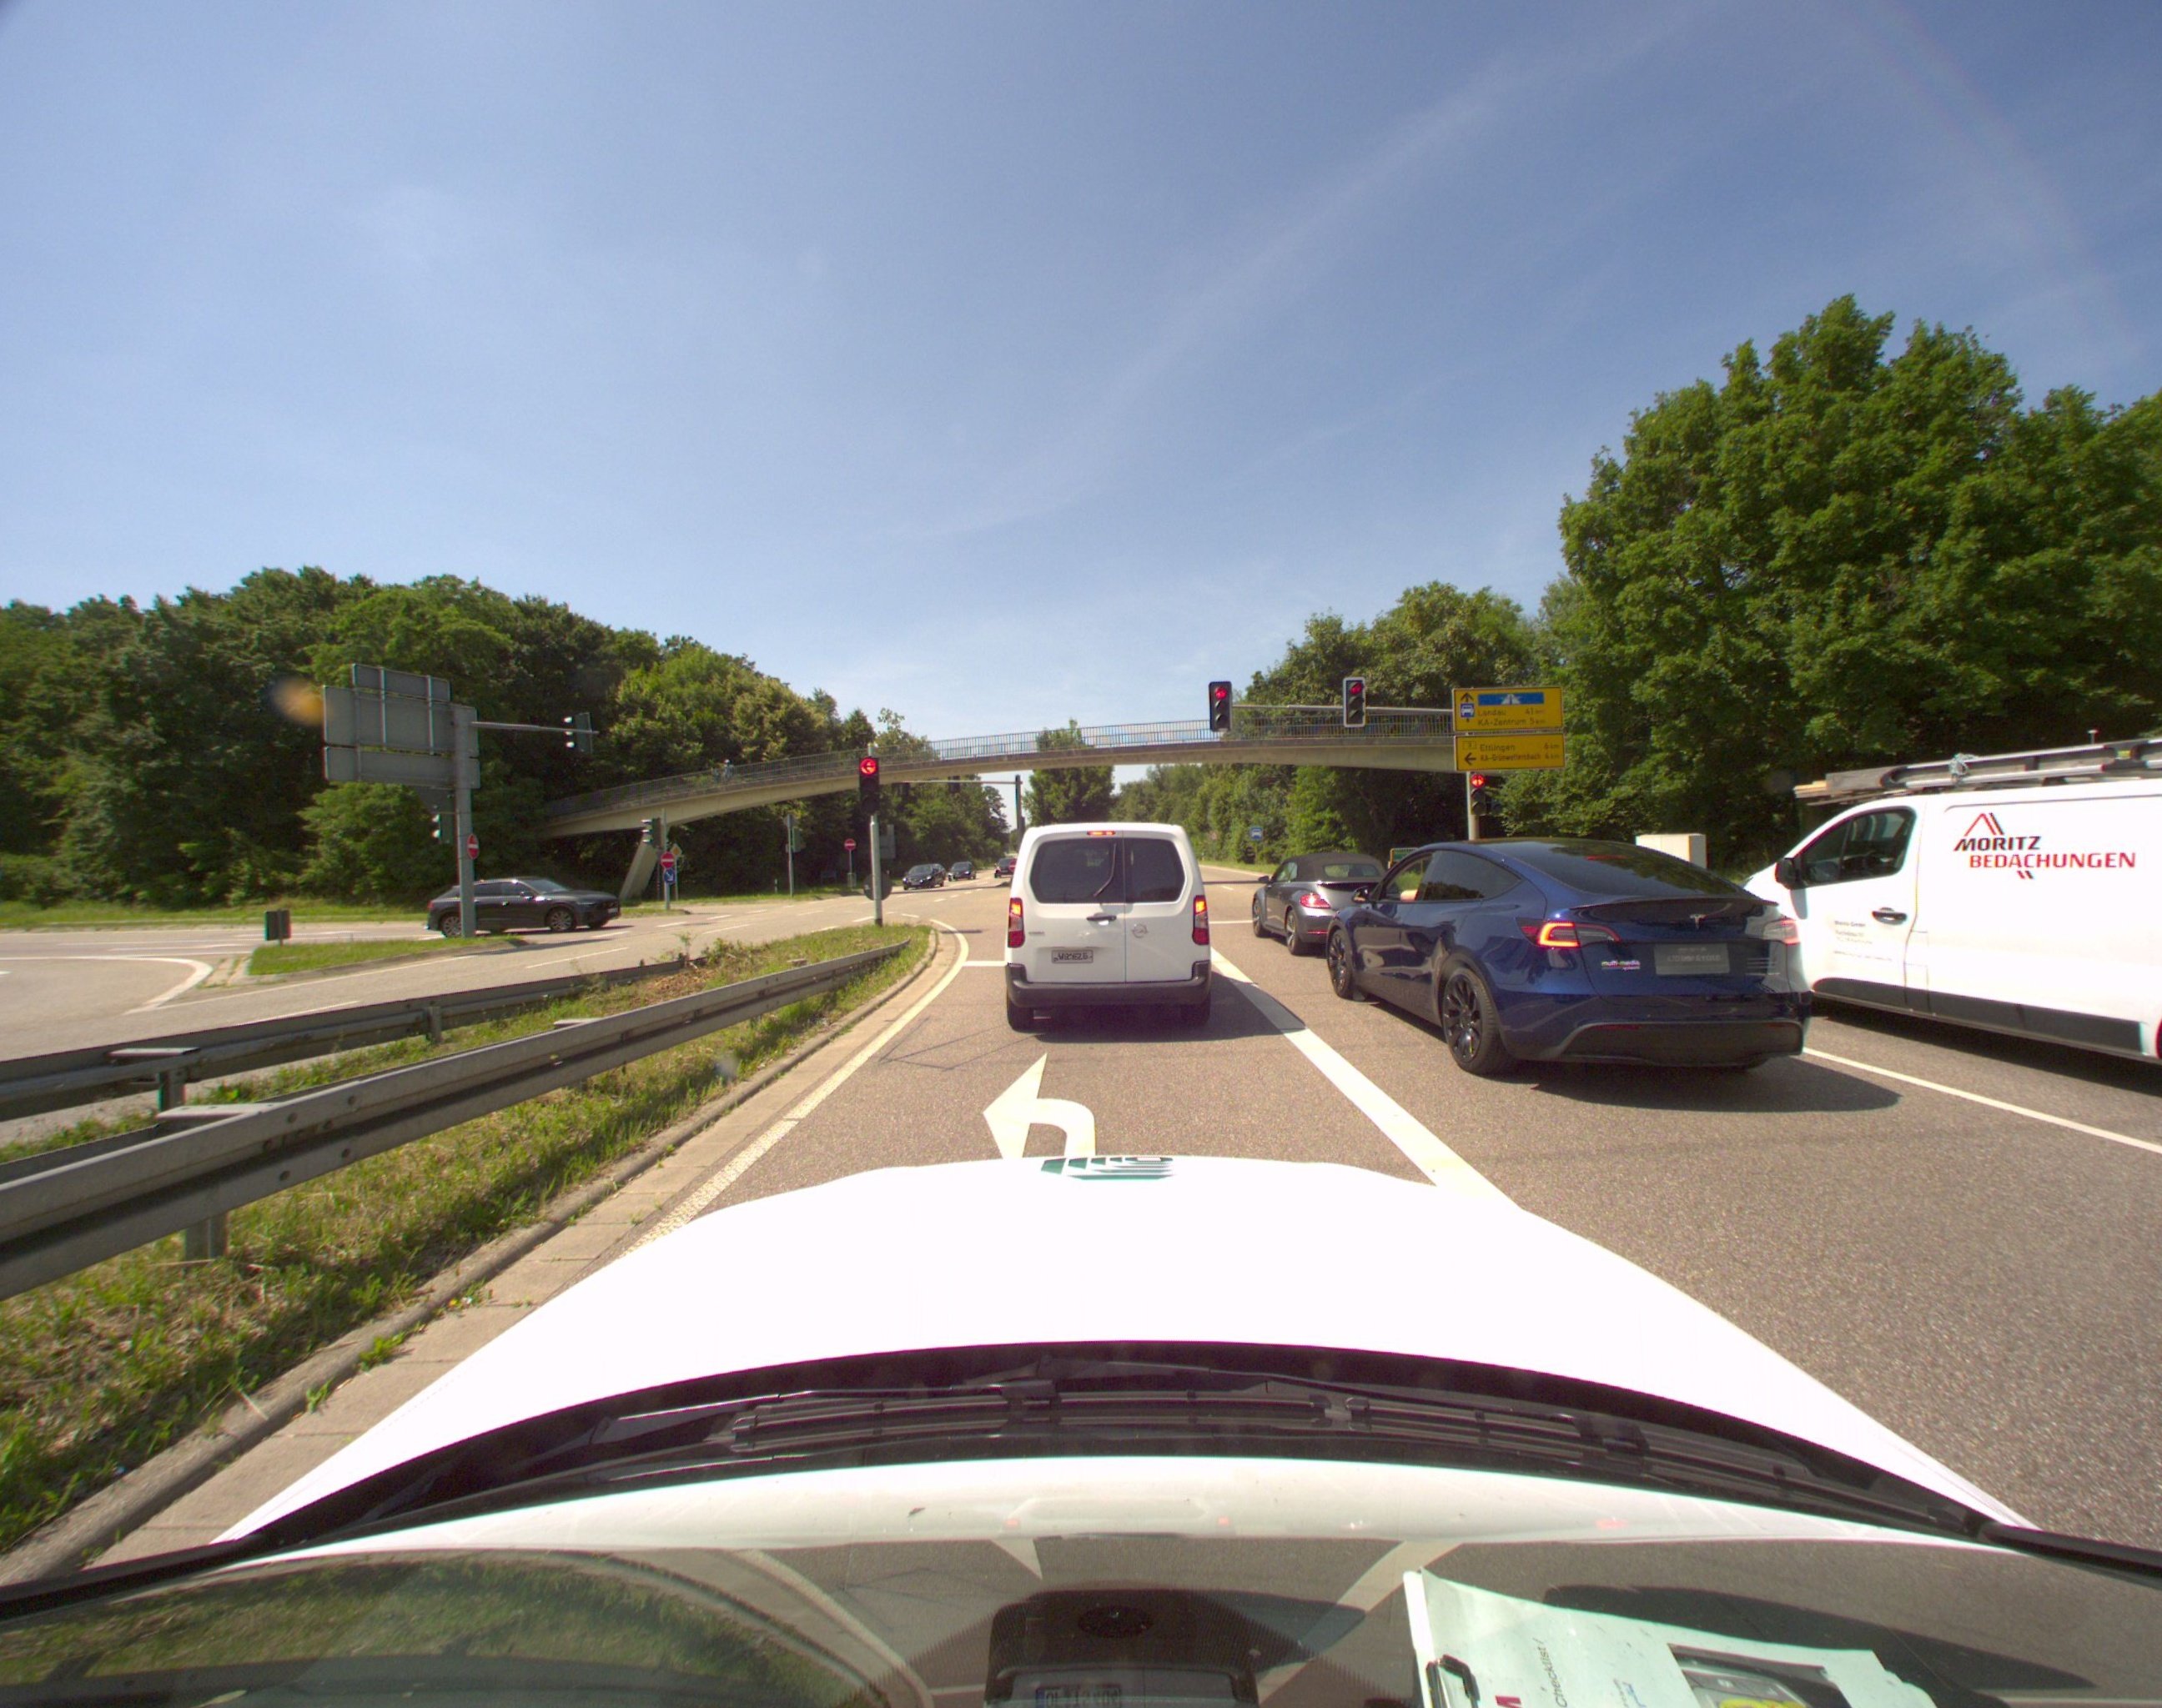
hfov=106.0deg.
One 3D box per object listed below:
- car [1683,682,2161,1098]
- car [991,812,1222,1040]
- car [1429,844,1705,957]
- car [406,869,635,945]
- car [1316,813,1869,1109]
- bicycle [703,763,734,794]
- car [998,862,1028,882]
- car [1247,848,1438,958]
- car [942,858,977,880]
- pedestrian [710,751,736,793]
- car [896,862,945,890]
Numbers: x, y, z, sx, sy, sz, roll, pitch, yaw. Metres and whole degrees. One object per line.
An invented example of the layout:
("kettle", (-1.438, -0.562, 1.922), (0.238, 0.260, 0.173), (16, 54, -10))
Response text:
("car", (7.089, 0.195, 5.808), (1.925, 2.349, 5.076), (-1, 0, 1))
("car", (0.241, 0.560, 8.563), (1.843, 1.825, 3.982), (-1, 1, 1))
("car", (7.373, 0.615, 12.989), (1.893, 1.478, 4.382), (-1, 0, 2))
("car", (-16.364, 1.504, 24.048), (5.063, 1.698, 2.045), (-3, 3, -6))
("car", (3.513, 0.597, 6.819), (1.893, 1.644, 4.522), (-1, 0, 2))
("bicycle", (-19.711, -4.095, 44.279), (1.514, 1.474, 0.472), (-4, -2, 17))
("car", (-5.531, 1.406, 66.312), (1.986, 1.523, 4.029), (1, 0, 2))
("car", (3.949, 0.664, 13.016), (1.893, 1.478, 3.940), (-1, 0, 2))
("car", (-9.823, 1.175, 66.111), (1.986, 1.665, 4.002), (-3, 0, 2))
("pedestrian", (-19.556, -4.461, 44.457), (0.776, 2.139, 0.936), (-4, -2, 17))
("car", (-9.667, 1.306, 49.365), (2.001, 1.460, 4.057), (-3, 0, 2))
